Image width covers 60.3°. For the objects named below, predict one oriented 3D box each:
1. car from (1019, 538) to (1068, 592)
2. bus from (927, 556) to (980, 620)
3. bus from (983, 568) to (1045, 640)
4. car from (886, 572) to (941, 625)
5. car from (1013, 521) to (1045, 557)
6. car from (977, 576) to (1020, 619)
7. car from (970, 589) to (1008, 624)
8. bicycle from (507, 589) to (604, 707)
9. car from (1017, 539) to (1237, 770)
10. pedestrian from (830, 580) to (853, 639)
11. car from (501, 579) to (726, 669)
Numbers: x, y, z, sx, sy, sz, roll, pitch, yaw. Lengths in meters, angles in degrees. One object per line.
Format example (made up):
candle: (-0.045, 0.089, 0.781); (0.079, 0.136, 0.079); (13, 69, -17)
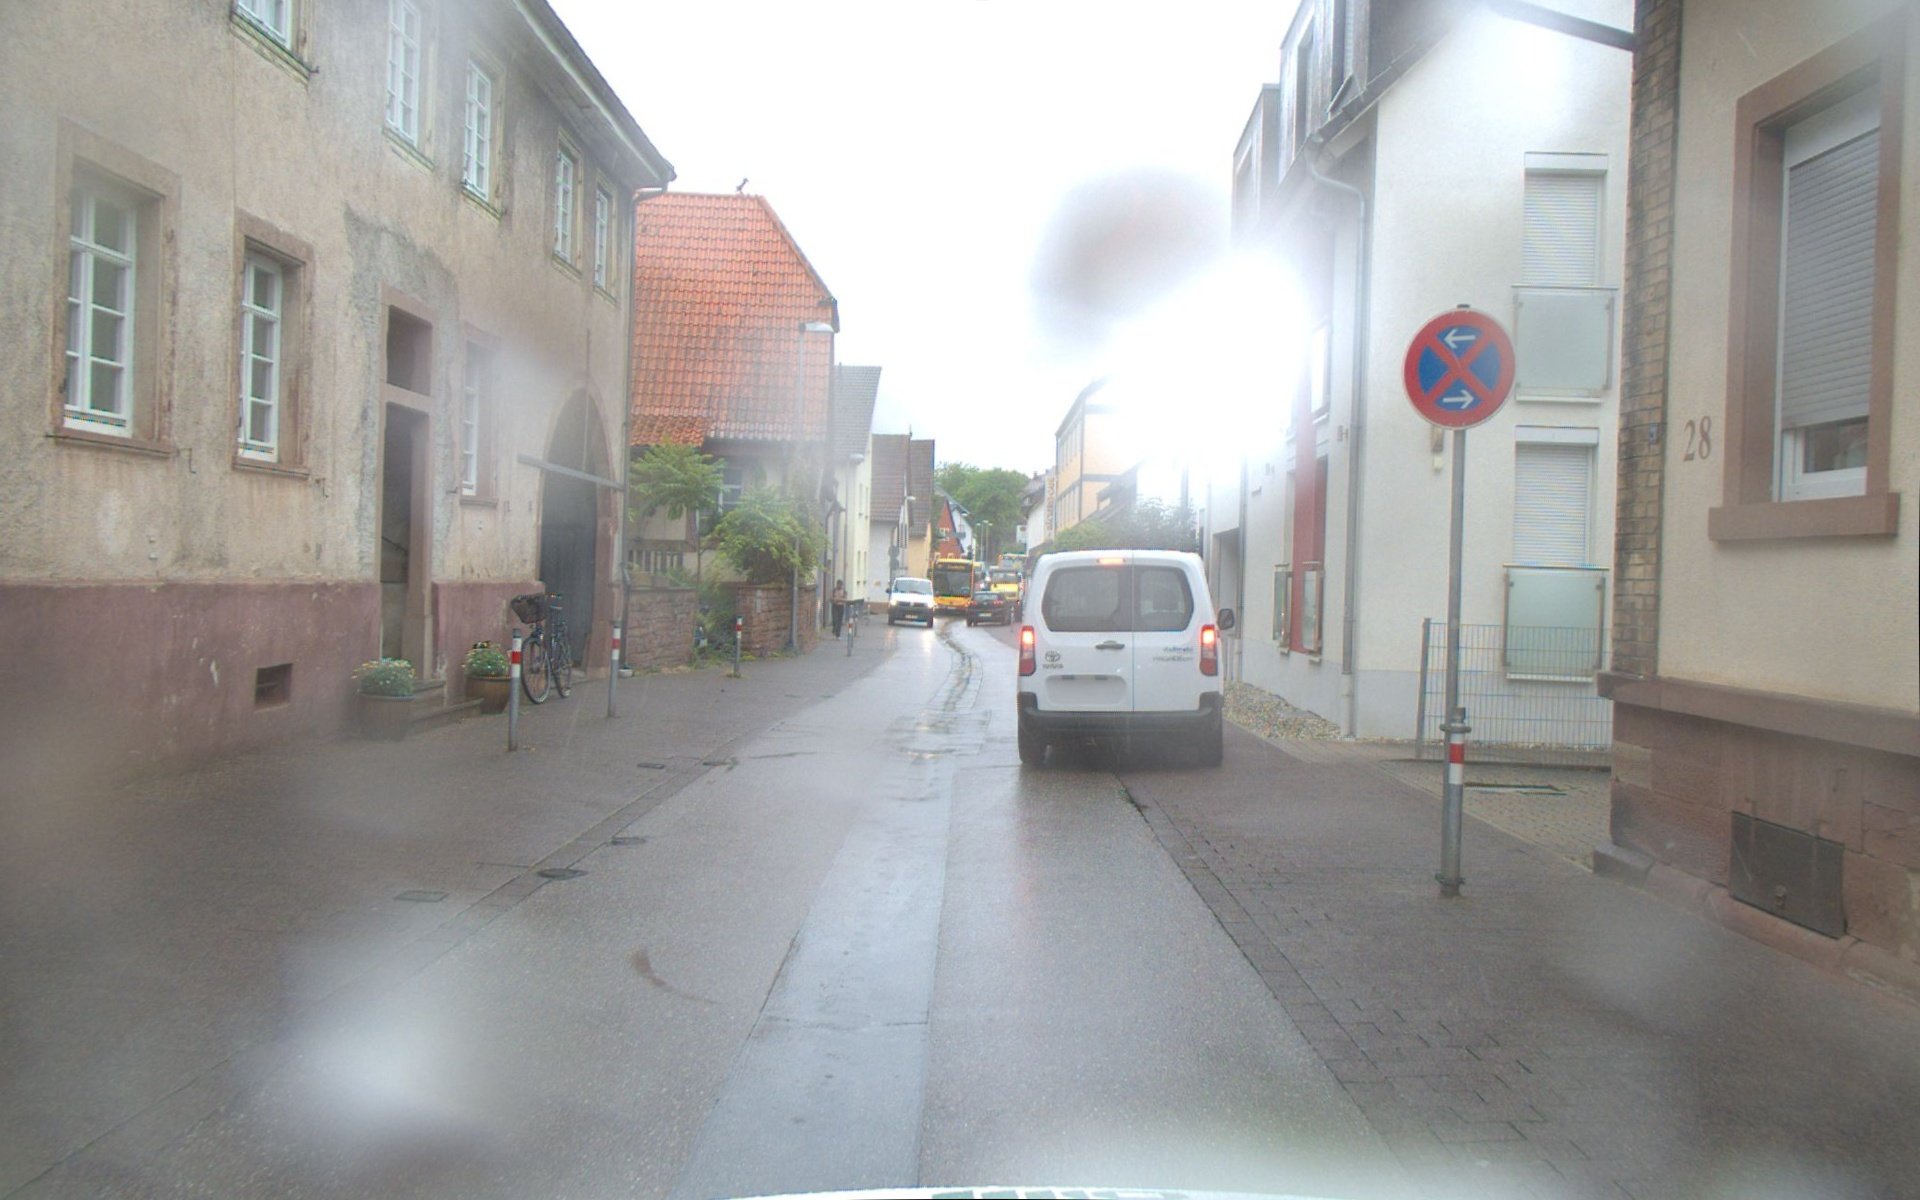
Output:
car: (3.454, -1.442, 68.652); (1.790, 2.049, 3.694); (3, 0, 1)
bus: (-0.331, -0.635, 96.222); (2.736, 3.387, 8.178); (4, 0, 1)
bus: (2.634, 0.201, 82.459); (2.736, 3.235, 8.178); (4, 0, 1)
car: (-1.878, -0.049, 68.130); (1.853, 2.001, 4.724); (3, 0, 3)
car: (4.500, -3.965, 107.775); (1.952, 2.049, 4.001); (3, 0, 2)
car: (1.474, -0.081, 63.045); (1.529, 1.506, 3.585); (3, 0, 1)
car: (1.265, 0.295, 71.809); (1.529, 1.395, 3.585); (3, 0, 1)
bicycle: (-4.403, 0.507, 18.112); (0.473, 1.200, 1.836); (3, 0, 3)
car: (1.523, 0.447, 15.357); (1.757, 1.850, 4.104); (0, 0, 5)
pedestrian: (-3.171, 0.256, 44.179); (0.557, 1.557, 0.568); (1, 0, -9)
car: (-5.932, 0.396, 28.505); (3.454, 1.400, 1.595); (2, 0, 3)
